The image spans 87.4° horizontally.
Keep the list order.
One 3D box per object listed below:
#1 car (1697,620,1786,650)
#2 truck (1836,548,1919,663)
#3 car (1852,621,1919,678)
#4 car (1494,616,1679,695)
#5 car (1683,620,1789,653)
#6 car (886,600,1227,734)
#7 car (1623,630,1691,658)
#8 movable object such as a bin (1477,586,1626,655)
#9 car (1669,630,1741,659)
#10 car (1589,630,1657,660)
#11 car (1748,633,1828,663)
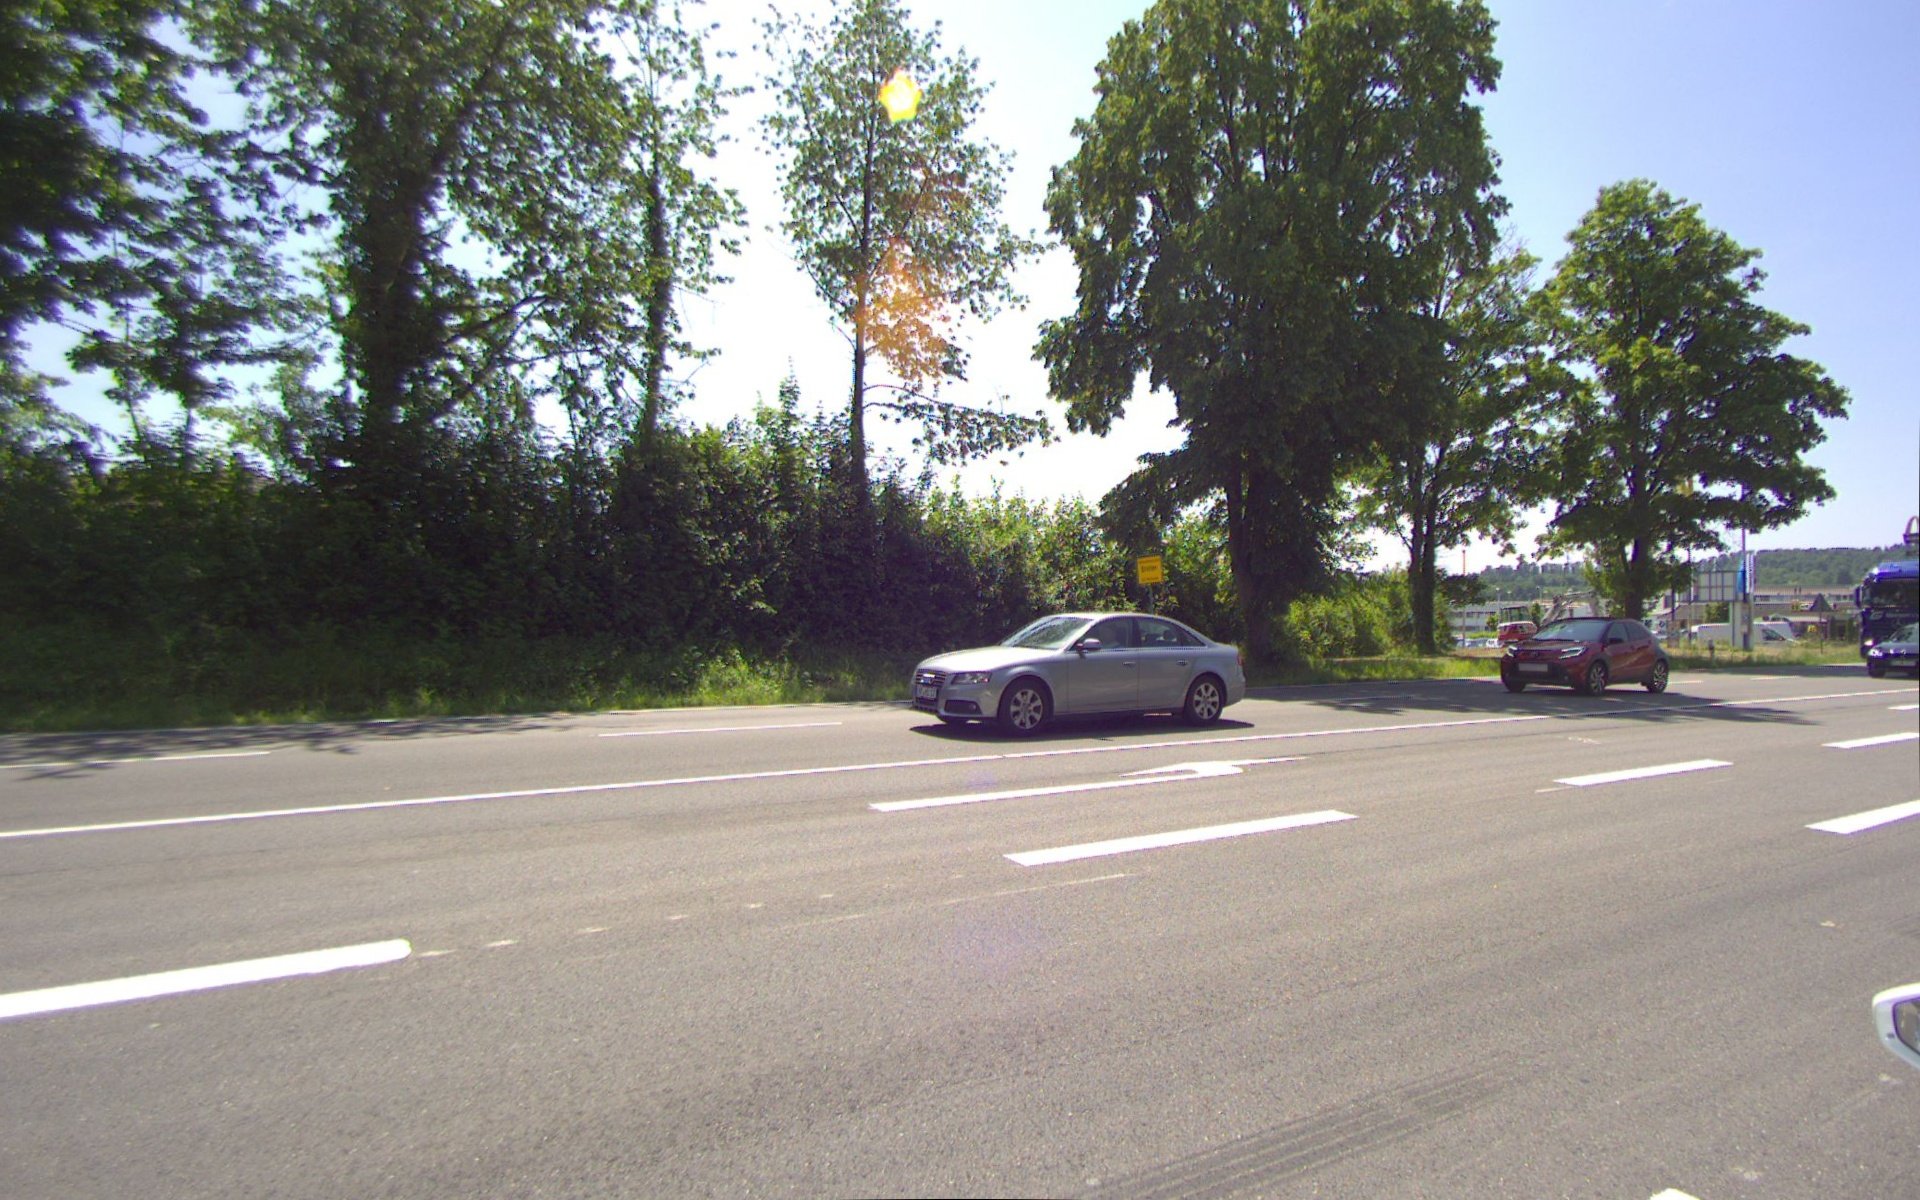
[{"bbox_3d":[60.334,2.716,77.646,5.087,2.212,2.001,1,-1,7],"label":"car"},{"bbox_3d":[41.567,0.382,41.737,16.383,4.232,2.953,1,-1,-31],"label":"truck"},{"bbox_3d":[26.941,1.388,27.983,4.635,1.500,1.909,2,-3,-32],"label":"car"},{"bbox_3d":[12.831,1.084,20.515,3.972,1.457,1.632,1,-1,-32],"label":"car"},{"bbox_3d":[50.971,2.361,66.104,5.118,2.040,1.999,0,-1,23],"label":"car"},{"bbox_3d":[1.254,0.781,12.520,3.955,1.405,1.757,2,0,-32],"label":"car"},{"bbox_3d":[43.695,2.745,63.079,1.803,1.639,4.002,1,-1,7],"label":"car"},{"bbox_3d":[34.745,1.220,59.311,6.658,3.340,3.055,-6,-2,10],"label":"movable object such as a bin"},{"bbox_3d":[46.321,2.766,62.550,1.803,1.639,4.002,1,-1,7],"label":"car"},{"bbox_3d":[41.470,2.792,62.944,1.959,1.673,4.002,1,-1,7],"label":"car"},{"bbox_3d":[49.329,2.834,59.928,1.803,1.639,4.002,1,-1,7],"label":"car"}]
